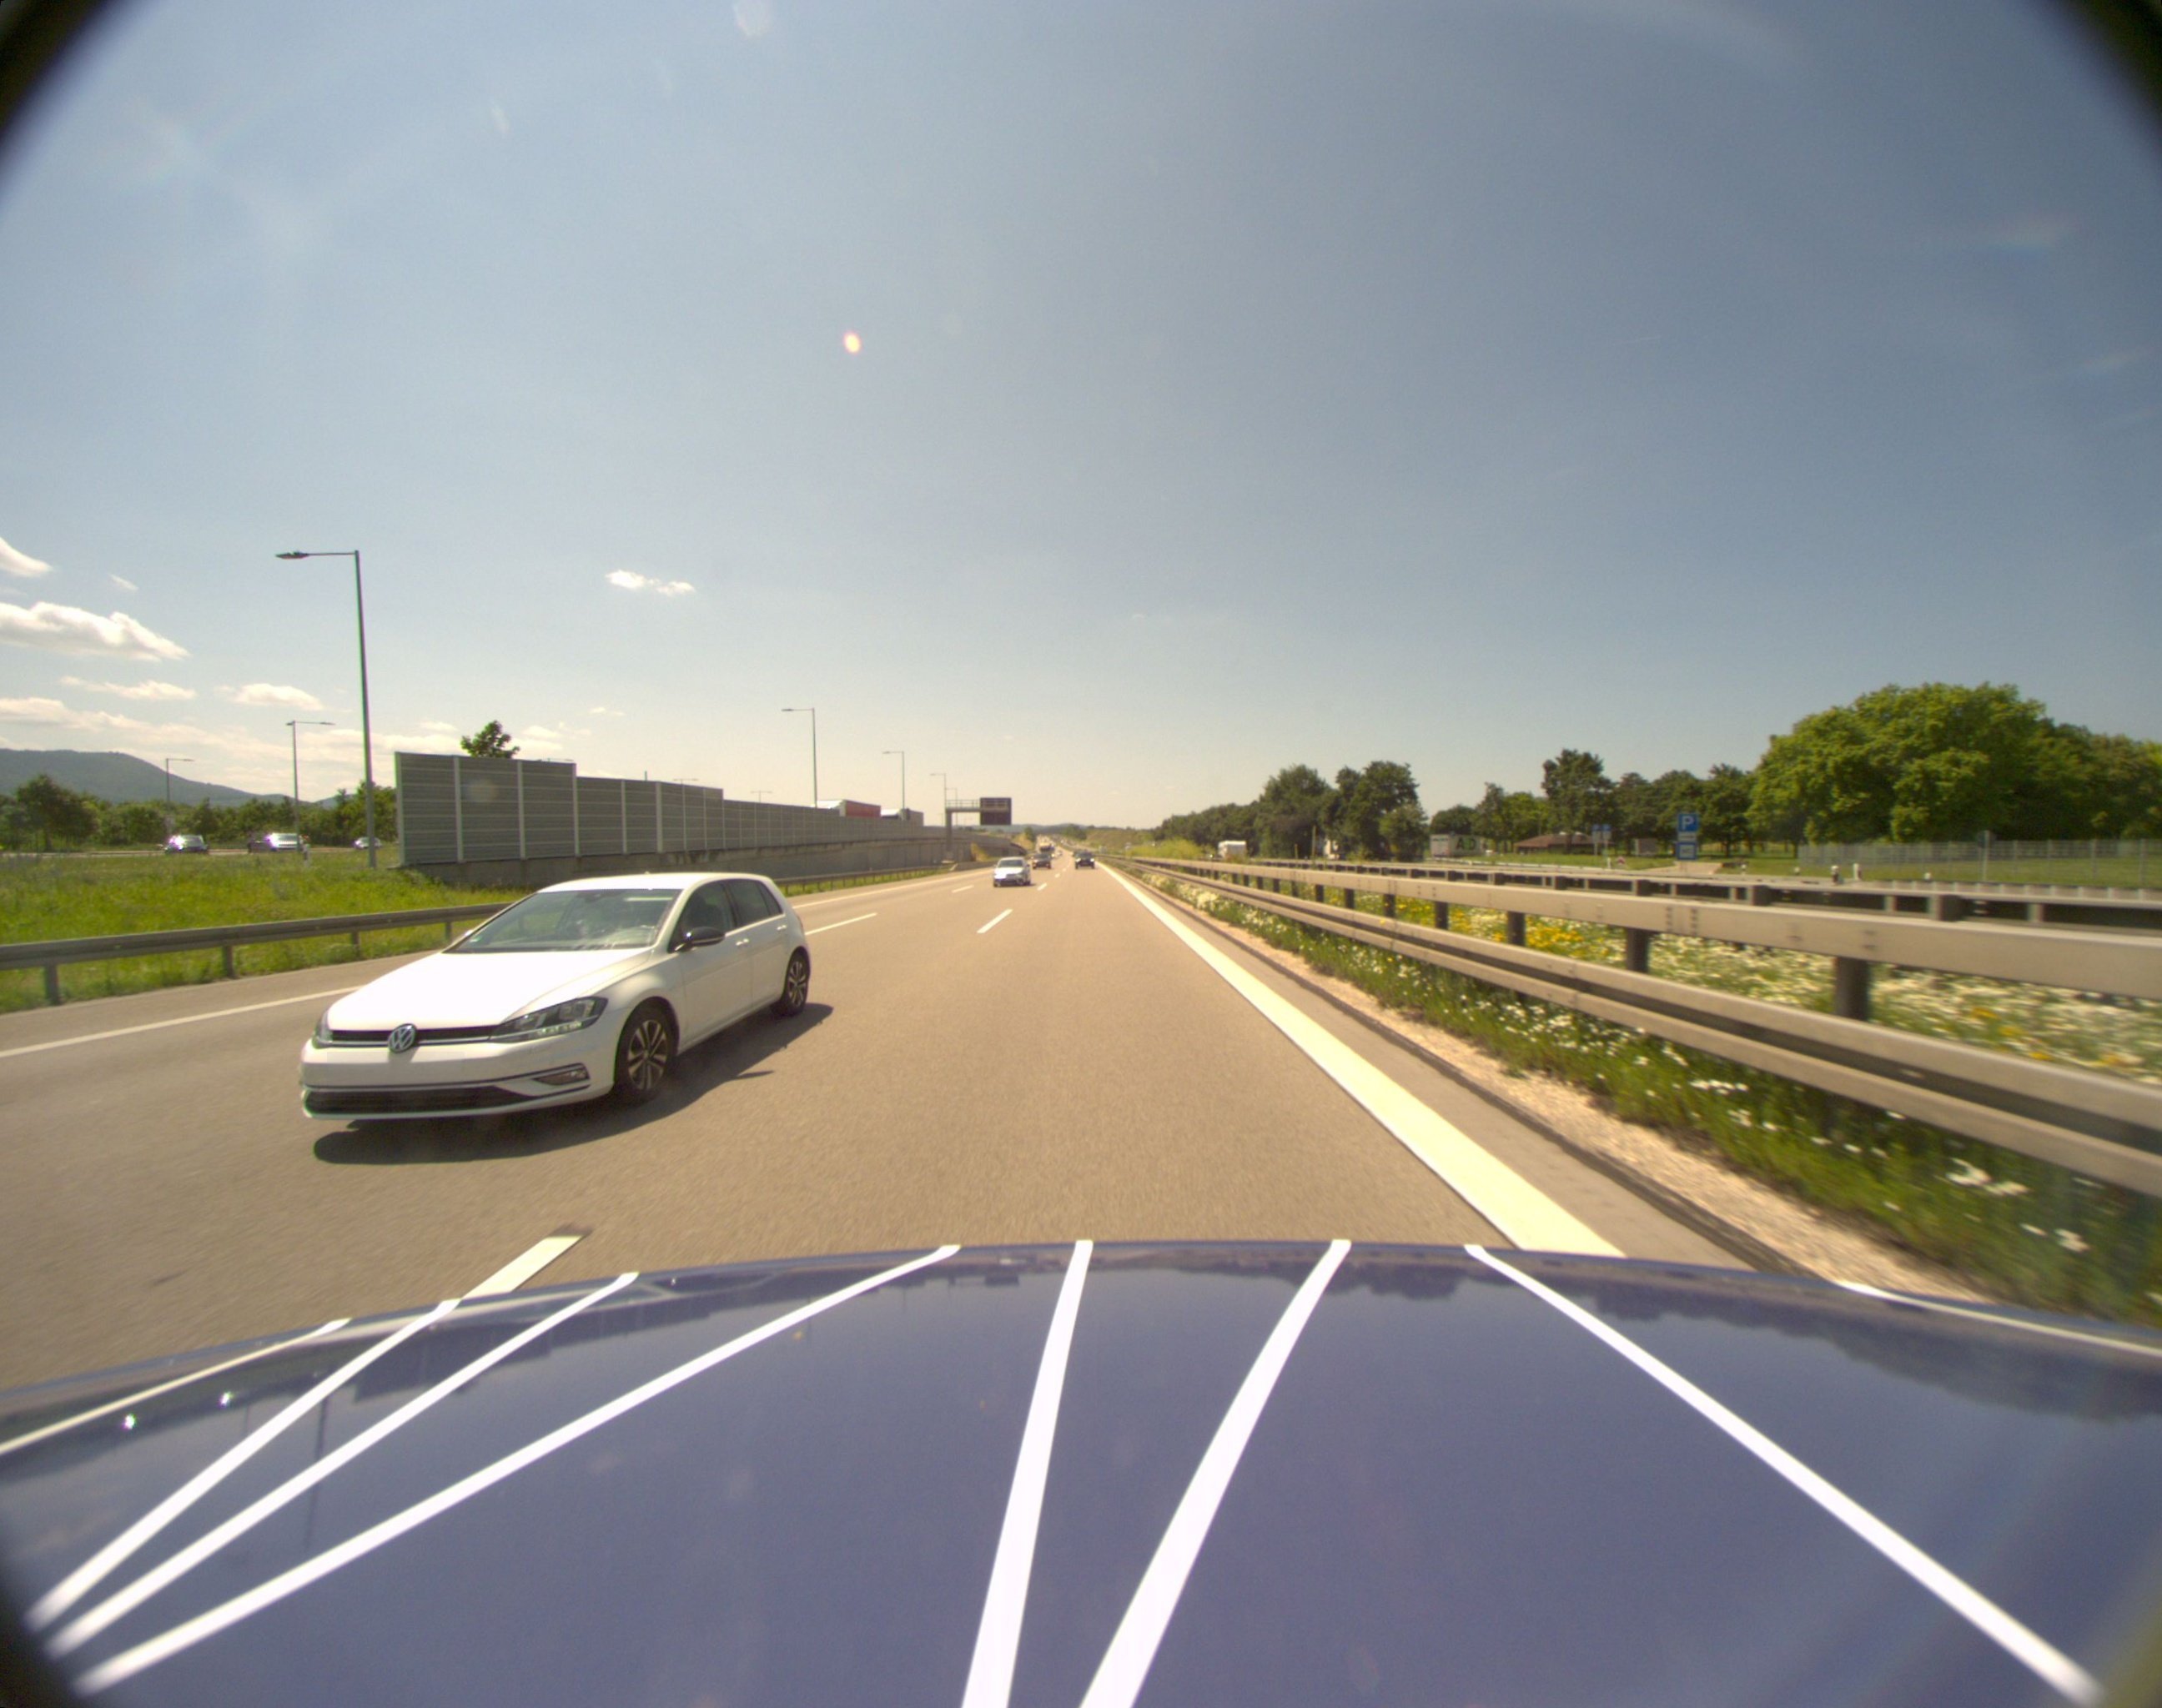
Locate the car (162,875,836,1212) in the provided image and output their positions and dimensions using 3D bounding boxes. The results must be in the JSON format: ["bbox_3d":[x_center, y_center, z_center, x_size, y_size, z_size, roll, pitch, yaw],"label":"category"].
[{"bbox_3d":[-3.663,1.017,6.154,1.780,1.425,4.690,-2,1,0],"label":"car"}]

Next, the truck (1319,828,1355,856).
[{"bbox_3d":[36.129,-1.732,107.445,2.803,3.761,6.097,-2,1,0],"label":"truck"}]

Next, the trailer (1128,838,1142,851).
[{"bbox_3d":[16.381,-2.917,230.556,2.850,3.713,14.526,-2,1,-1],"label":"trailer"}]

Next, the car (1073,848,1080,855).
[{"bbox_3d":[-1.260,-0.640,221.009,1.998,2.002,3.999,-2,1,1],"label":"car"}]

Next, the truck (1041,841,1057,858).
[{"bbox_3d":[-7.857,-1.112,184.380,3.368,4.037,11.731,-2,1,-4],"label":"truck"}]

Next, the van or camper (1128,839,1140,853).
[{"bbox_3d":[13.370,-2.045,192.157,2.530,3.249,7.373,1,1,0],"label":"van or camper"}]

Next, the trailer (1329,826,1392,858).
[{"bbox_3d":[36.140,-1.616,99.103,2.775,3.757,14.408,-2,1,0],"label":"trailer"}]

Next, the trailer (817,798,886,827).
[{"bbox_3d":[-22.143,-3.944,74.440,2.726,2.211,14.016,-2,1,-1],"label":"trailer"}]

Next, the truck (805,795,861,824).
[{"bbox_3d":[-21.961,-3.872,67.693,2.715,2.192,7.285,-2,1,-1],"label":"truck"}]

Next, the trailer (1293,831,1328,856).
[{"bbox_3d":[36.185,-1.703,120.041,2.552,3.641,8.710,-2,1,-2],"label":"trailer"}]

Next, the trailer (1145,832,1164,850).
[{"bbox_3d":[17.064,-3.069,177.856,2.692,3.825,15.176,-2,1,0],"label":"trailer"}]

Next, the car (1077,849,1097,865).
[{"bbox_3d":[0.565,0.295,73.033,1.751,1.439,3.999,-1,0,-1],"label":"car"}]

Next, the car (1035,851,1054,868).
[{"bbox_3d":[-3.691,0.553,77.284,1.751,1.559,3.999,-2,1,-1],"label":"car"}]

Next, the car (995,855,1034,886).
[{"bbox_3d":[-3.302,0.803,38.446,1.634,1.381,3.999,-2,1,-1],"label":"car"}]

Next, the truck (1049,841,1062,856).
[{"bbox_3d":[-7.420,-1.661,219.767,3.368,3.976,11.731,-2,1,-4],"label":"truck"}]

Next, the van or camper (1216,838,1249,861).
[{"bbox_3d":[17.614,-0.545,88.653,2.542,2.521,6.707,-1,2,0],"label":"van or camper"}]

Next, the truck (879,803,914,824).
[{"bbox_3d":[-22.336,-4.826,92.358,2.730,2.217,6.035,-2,1,-1],"label":"truck"}]
